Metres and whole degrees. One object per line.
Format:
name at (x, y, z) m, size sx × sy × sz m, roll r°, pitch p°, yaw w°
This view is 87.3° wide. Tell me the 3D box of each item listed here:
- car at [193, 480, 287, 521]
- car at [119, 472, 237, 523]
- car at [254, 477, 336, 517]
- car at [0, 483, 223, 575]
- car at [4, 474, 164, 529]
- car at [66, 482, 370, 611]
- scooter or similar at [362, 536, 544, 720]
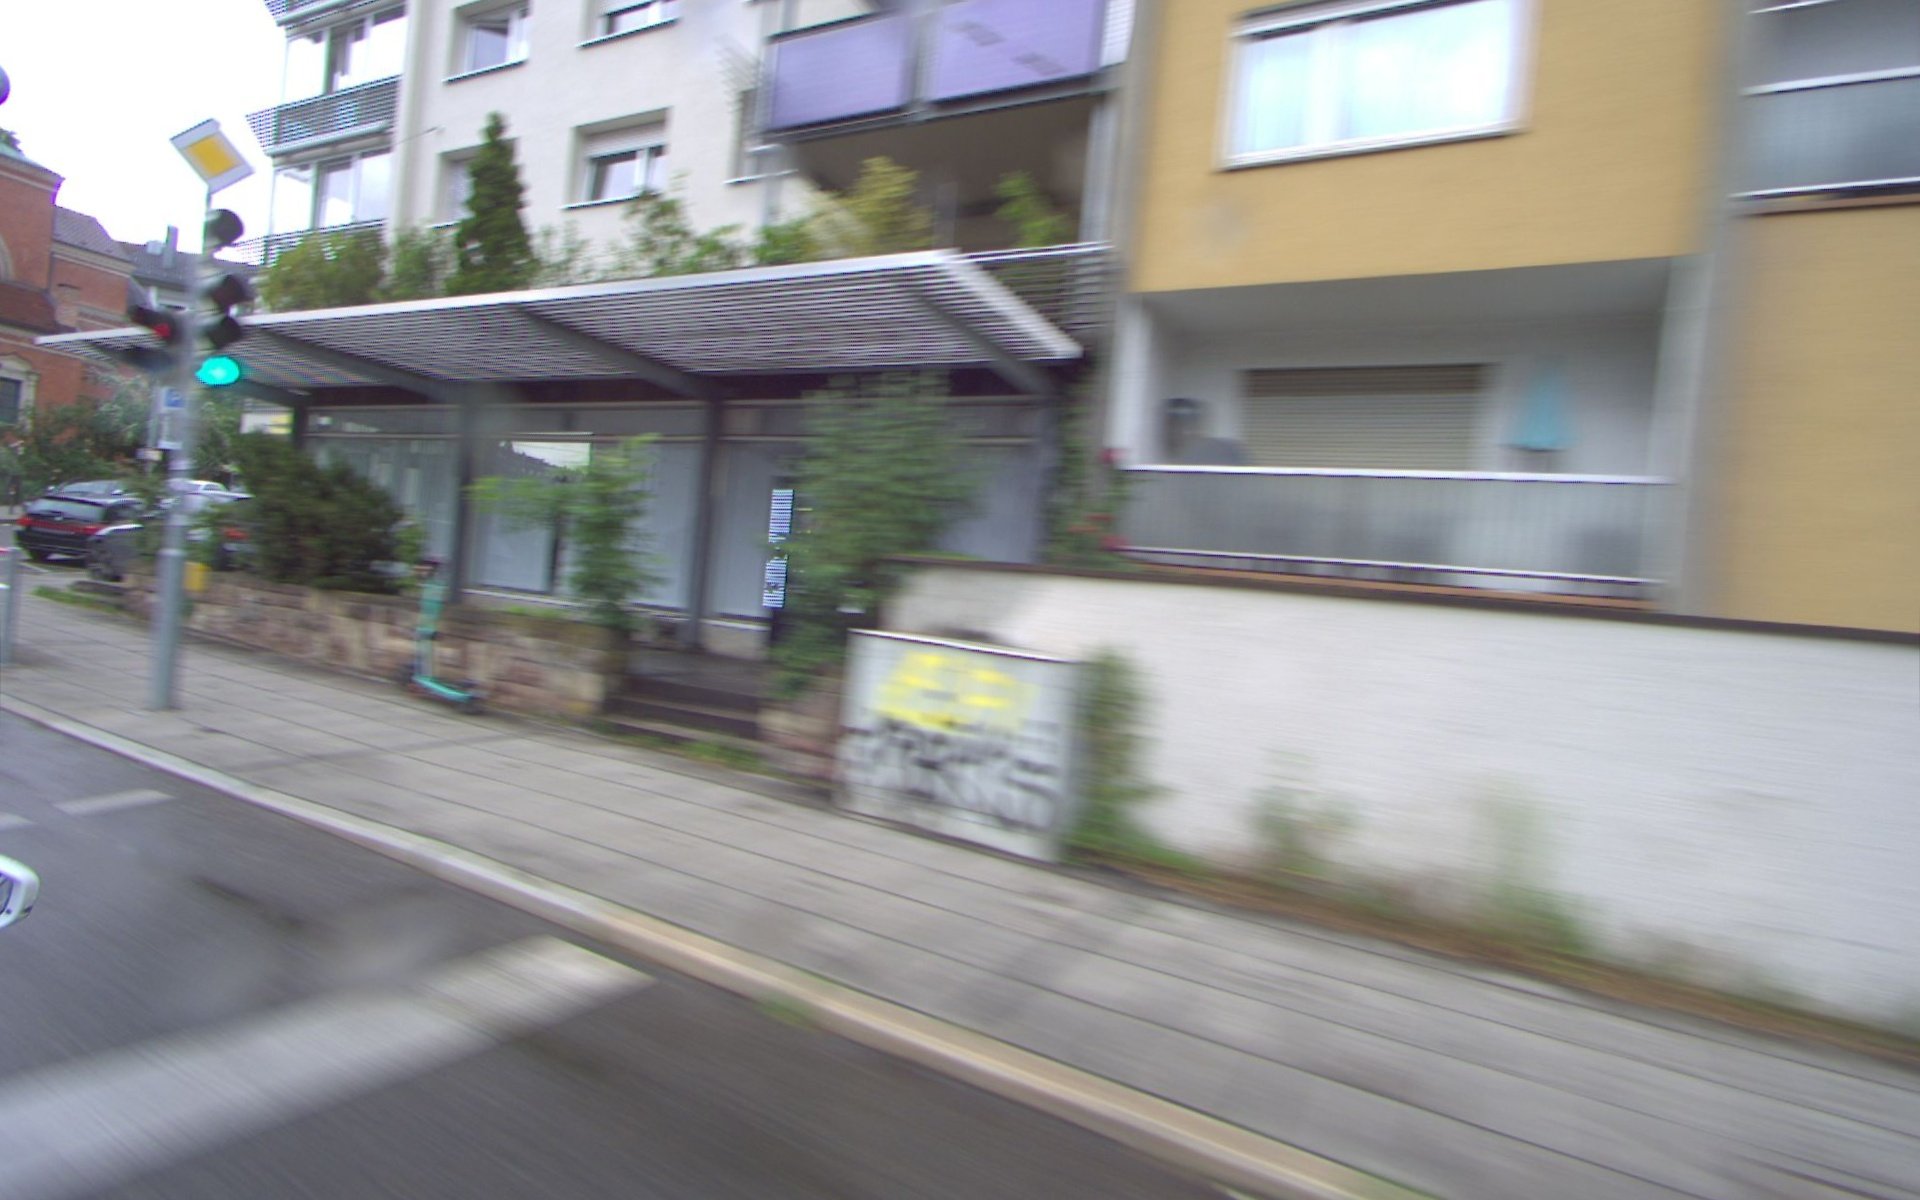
car at (-29.287, -4.083, 41.054) m, size 1.910 × 1.465 × 3.613 m, roll 2°, pitch 6°, yaw -14°
car at (-28.034, -3.665, 36.212) m, size 1.915 × 1.516 × 3.912 m, roll 5°, pitch 4°, yaw -15°
car at (-30.725, -4.781, 46.588) m, size 1.912 × 1.536 × 3.828 m, roll 6°, pitch 4°, yaw -15°
car at (-17.943, -1.530, 21.526) m, size 1.972 × 1.476 × 4.429 m, roll 7°, pitch 3°, yaw -16°
car at (-26.991, -3.043, 31.200) m, size 1.911 × 1.388 × 4.459 m, roll 4°, pitch 4°, yaw -14°
car at (-10.581, -0.779, 14.276) m, size 4.374 × 1.523 × 1.854 m, roll 5°, pitch 2°, yaw 30°
scooter or similar at (-4.279, 0.193, 8.449) m, size 1.631 × 1.346 × 0.534 m, roll 6°, pitch 5°, yaw 30°
